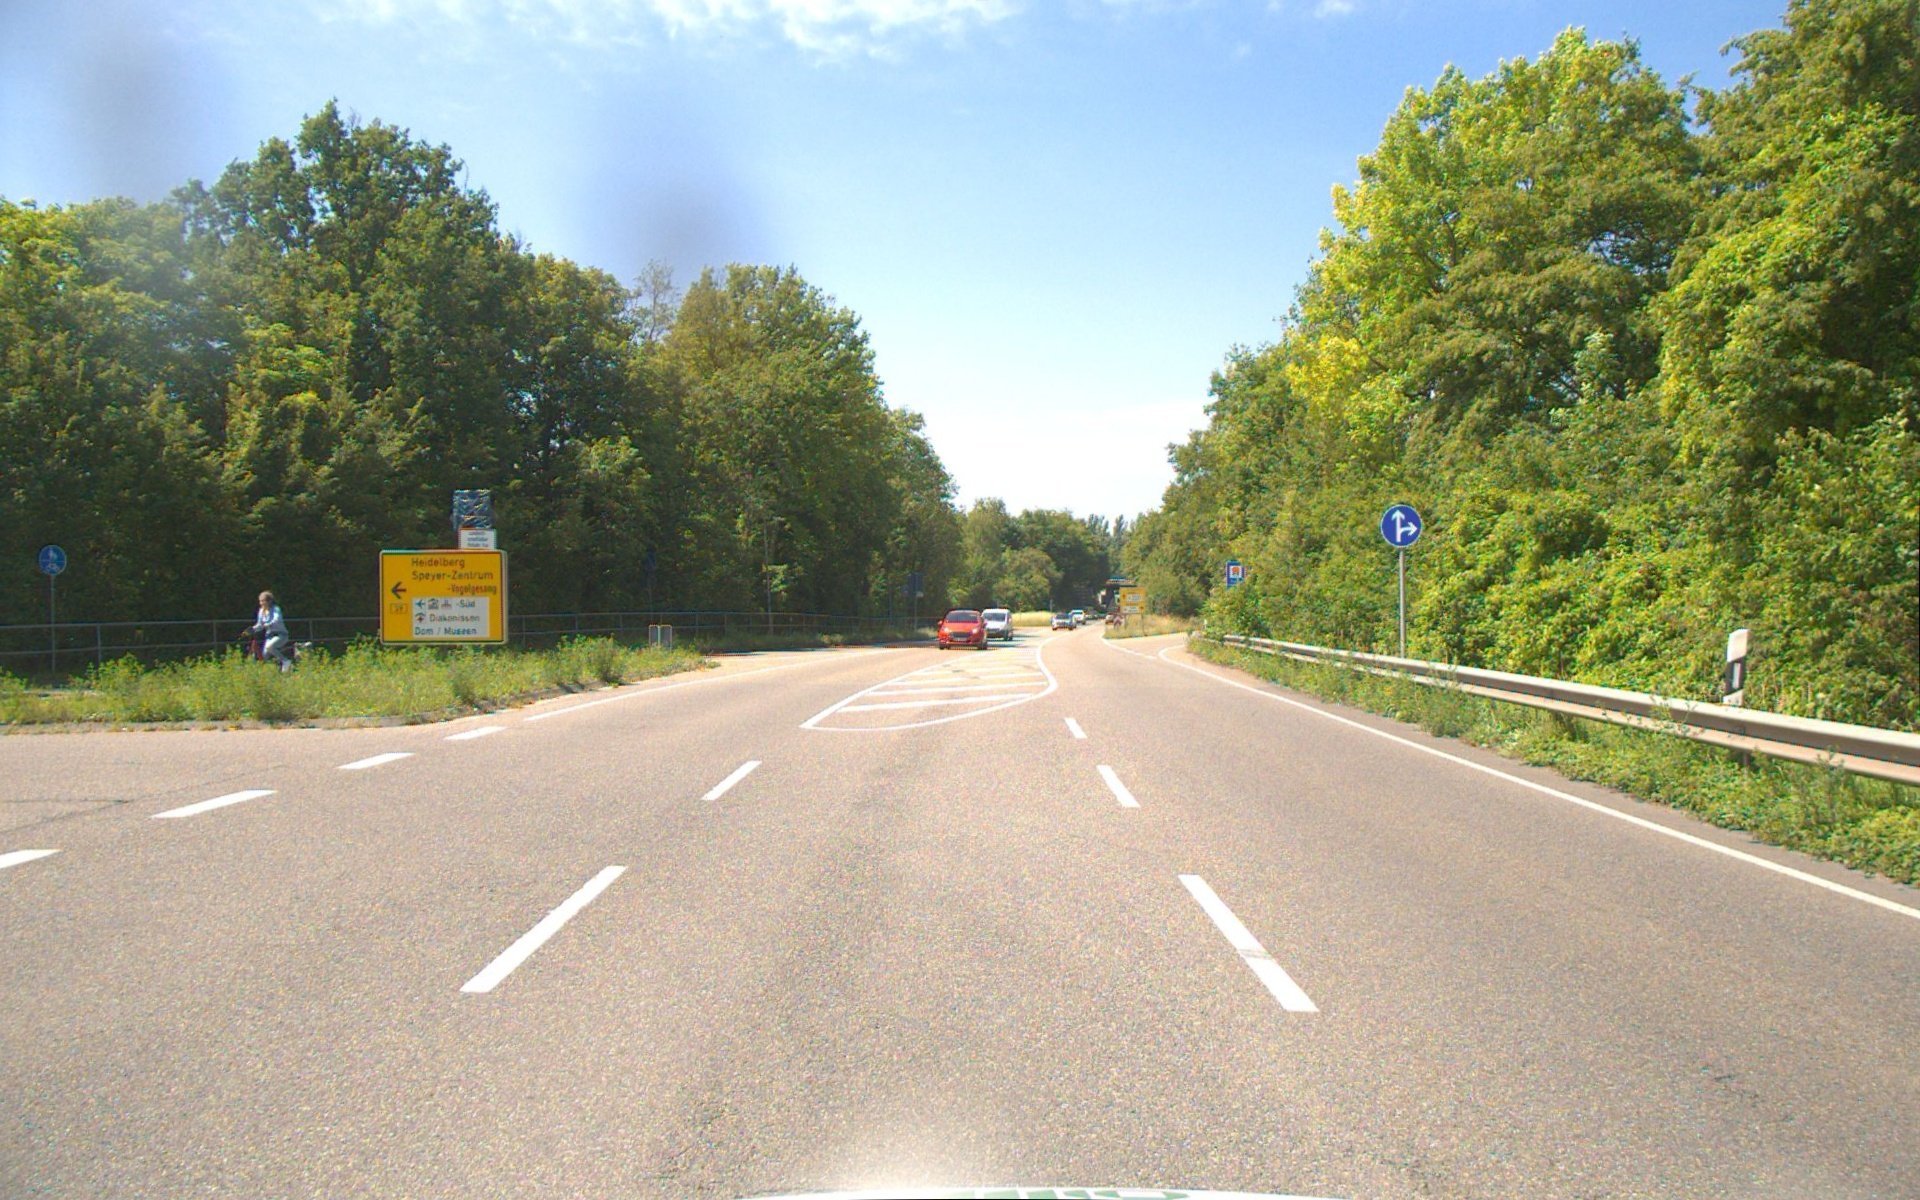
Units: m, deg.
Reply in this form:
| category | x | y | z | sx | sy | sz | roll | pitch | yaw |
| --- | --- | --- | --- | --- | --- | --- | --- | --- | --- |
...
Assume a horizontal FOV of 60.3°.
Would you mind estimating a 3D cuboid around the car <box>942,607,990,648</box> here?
| category | x | y | z | sx | sy | sz | roll | pitch | yaw |
| --- | --- | --- | --- | --- | --- | --- | --- | --- | --- |
| car | 0.199 | 1.013 | 63.018 | 1.773 | 1.483 | 3.757 | 0 | 0 | -1 |

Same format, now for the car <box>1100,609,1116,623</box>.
| category | x | y | z | sx | sy | sz | roll | pitch | yaw |
| --- | --- | --- | --- | --- | --- | --- | --- | --- | --- |
| car | 18.572 | 2.031 | 207.678 | 1.805 | 1.714 | 4.002 | 0 | 1 | 4 |

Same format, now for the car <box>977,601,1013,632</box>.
| category | x | y | z | sx | sy | sz | roll | pitch | yaw |
| --- | --- | --- | --- | --- | --- | --- | --- | --- | --- |
| car | 2.055 | 0.953 | 96.116 | 1.952 | 1.760 | 4.276 | 0 | 0 | 3 |

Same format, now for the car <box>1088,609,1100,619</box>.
| category | x | y | z | sx | sy | sz | roll | pitch | yaw |
| --- | --- | --- | --- | --- | --- | --- | --- | --- | --- |
| car | 19.654 | 2.054 | 242.747 | 1.683 | 1.535 | 3.712 | 0 | 0 | 7 |

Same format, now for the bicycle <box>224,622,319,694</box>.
| category | x | y | z | sx | sy | sz | roll | pitch | yaw |
| --- | --- | --- | --- | --- | --- | --- | --- | --- | --- |
| bicycle | -11.171 | 0.927 | 26.867 | 0.427 | 1.133 | 1.479 | 0 | -1 | 30 |

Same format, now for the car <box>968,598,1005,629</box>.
| category | x | y | z | sx | sy | sz | roll | pitch | yaw |
| --- | --- | --- | --- | --- | --- | --- | --- | --- | --- |
| car | 2.846 | 1.393 | 178.475 | 1.971 | 3.282 | 4.763 | 0 | 0 | -29 |

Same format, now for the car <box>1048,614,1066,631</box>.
| category | x | y | z | sx | sy | sz | roll | pitch | yaw |
| --- | --- | --- | --- | --- | --- | --- | --- | --- | --- |
| car | 9.592 | 2.193 | 163.124 | 1.642 | 1.554 | 4.002 | 0 | 0 | 5 |

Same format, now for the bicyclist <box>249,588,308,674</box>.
| category | x | y | z | sx | sy | sz | roll | pitch | yaw |
| --- | --- | --- | --- | --- | --- | --- | --- | --- | --- |
| bicyclist | -11.113 | 0.501 | 26.962 | 0.675 | 1.387 | 0.608 | 0 | -1 | 31 |

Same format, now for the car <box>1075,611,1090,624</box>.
| category | x | y | z | sx | sy | sz | roll | pitch | yaw |
| --- | --- | --- | --- | --- | --- | --- | --- | --- | --- |
| car | 15.047 | 2.124 | 203.086 | 1.683 | 1.555 | 3.712 | 0 | 0 | 6 |
